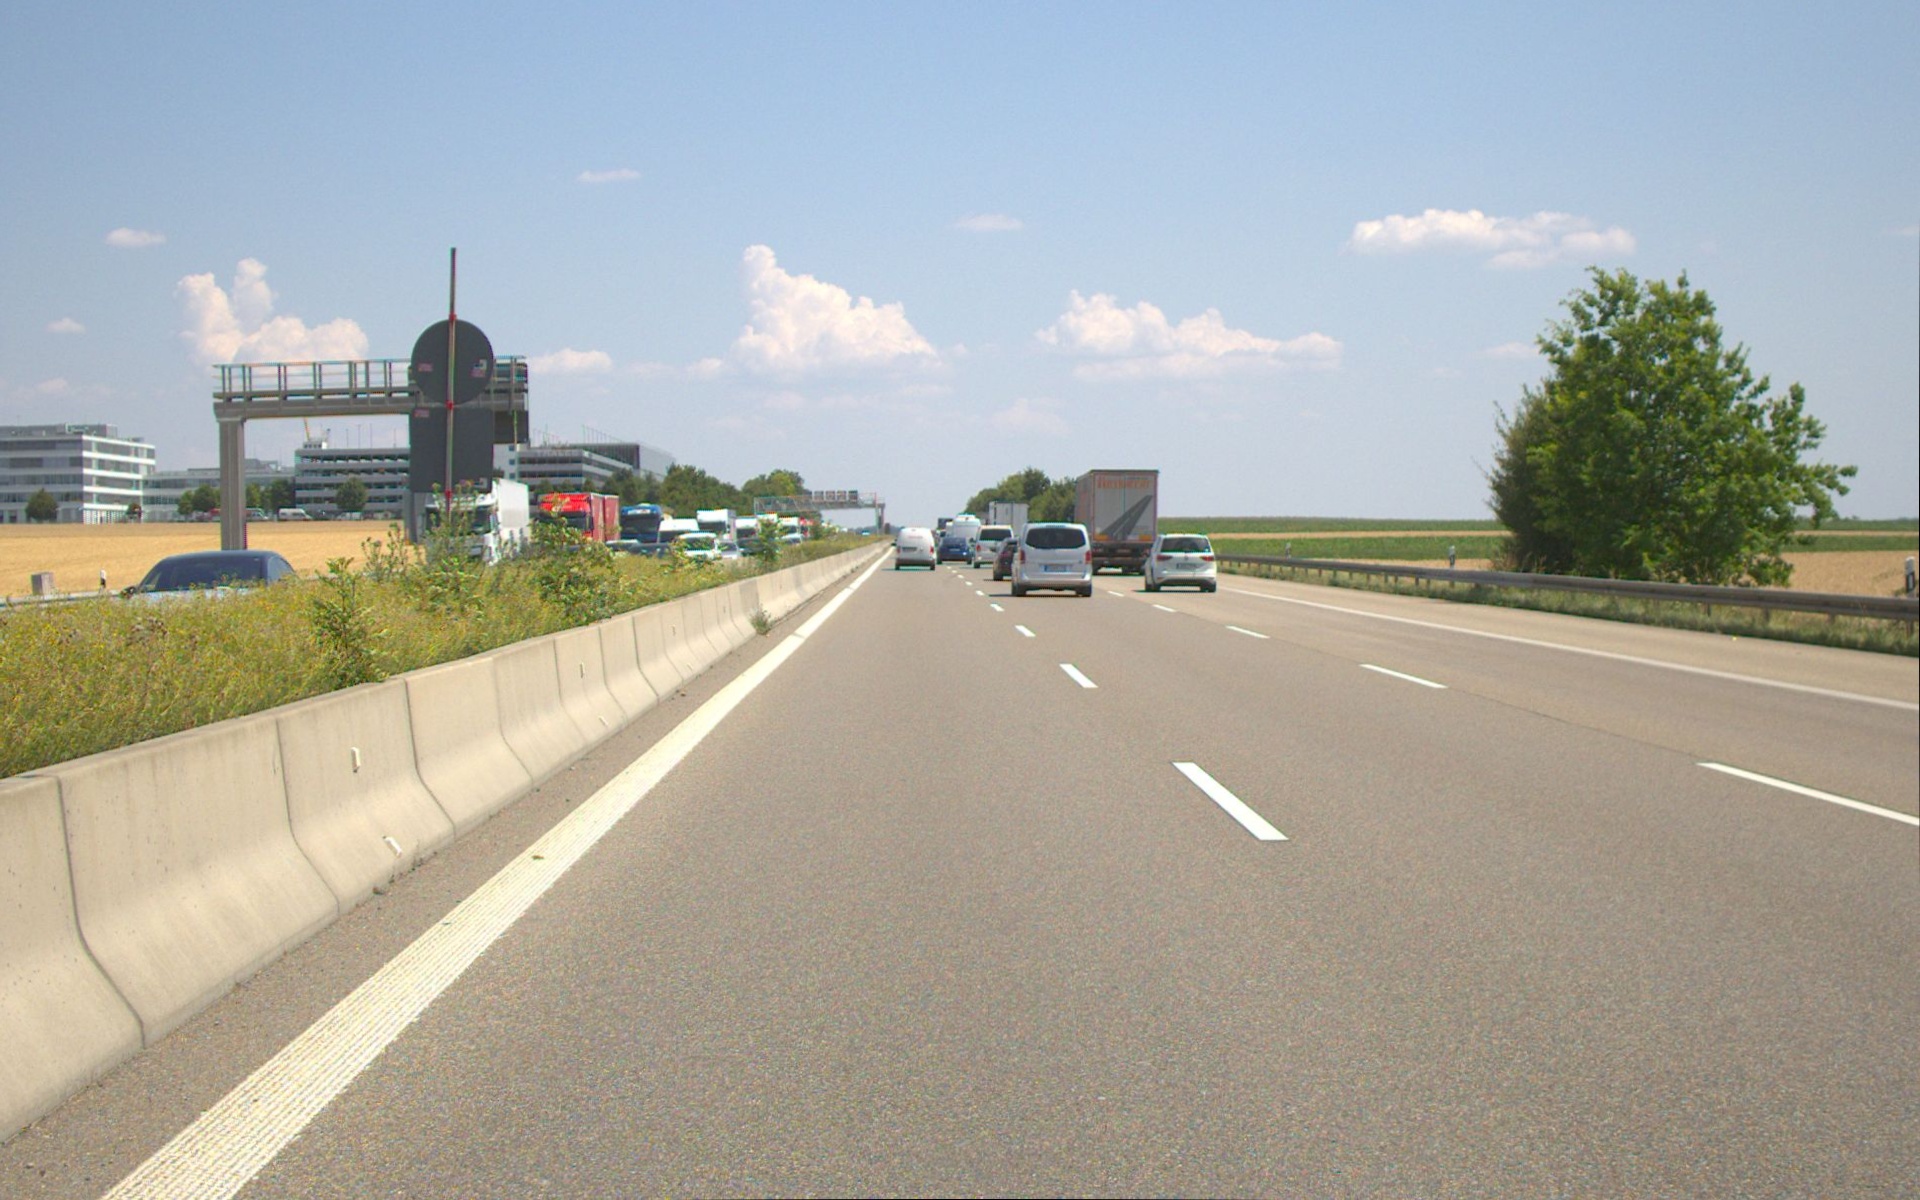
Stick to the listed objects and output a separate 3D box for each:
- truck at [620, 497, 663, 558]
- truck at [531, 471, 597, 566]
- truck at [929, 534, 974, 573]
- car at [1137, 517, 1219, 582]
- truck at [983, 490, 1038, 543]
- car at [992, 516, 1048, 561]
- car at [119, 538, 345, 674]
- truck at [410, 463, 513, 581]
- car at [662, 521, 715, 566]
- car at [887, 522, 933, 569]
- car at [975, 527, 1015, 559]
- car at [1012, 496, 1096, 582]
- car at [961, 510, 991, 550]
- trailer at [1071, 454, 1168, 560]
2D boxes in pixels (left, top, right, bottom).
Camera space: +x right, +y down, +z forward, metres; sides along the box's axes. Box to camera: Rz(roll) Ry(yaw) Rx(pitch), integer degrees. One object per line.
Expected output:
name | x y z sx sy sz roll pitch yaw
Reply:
truck | -19.262 -4.393 208.041 2.109 3.588 7.122 -1 1 -2
truck | -19.435 -3.982 168.739 2.776 4.582 4.724 -1 1 -2
truck | -0.462 -2.445 180.815 2.211 2.007 4.972 -1 1 -2
car | 6.081 -1.392 96.415 1.993 1.788 4.000 0 0 -1
truck | 3.752 -6.259 259.068 3.815 3.891 9.581 -1 1 -1
car | 2.024 -2.075 116.728 1.773 1.442 4.000 0 0 -1
car | -8.909 0.027 42.452 1.762 1.545 4.727 -1 1 0
truck | -18.294 -2.864 126.539 2.950 4.143 5.472 -2 1 -1
car | -10.698 -2.244 135.570 1.816 1.747 4.994 -1 1 -2
car | -2.181 -2.377 150.375 1.993 2.007 4.000 0 0 -1
car | 1.637 -2.651 160.451 1.773 1.442 4.000 0 0 -1
car | 2.371 -1.534 87.500 1.993 2.112 4.000 0 0 -1
car | 0.992 -4.355 213.869 1.773 2.384 4.000 0 0 -1
trailer | 6.246 -3.609 135.772 3.277 3.953 9.113 0 0 -1
